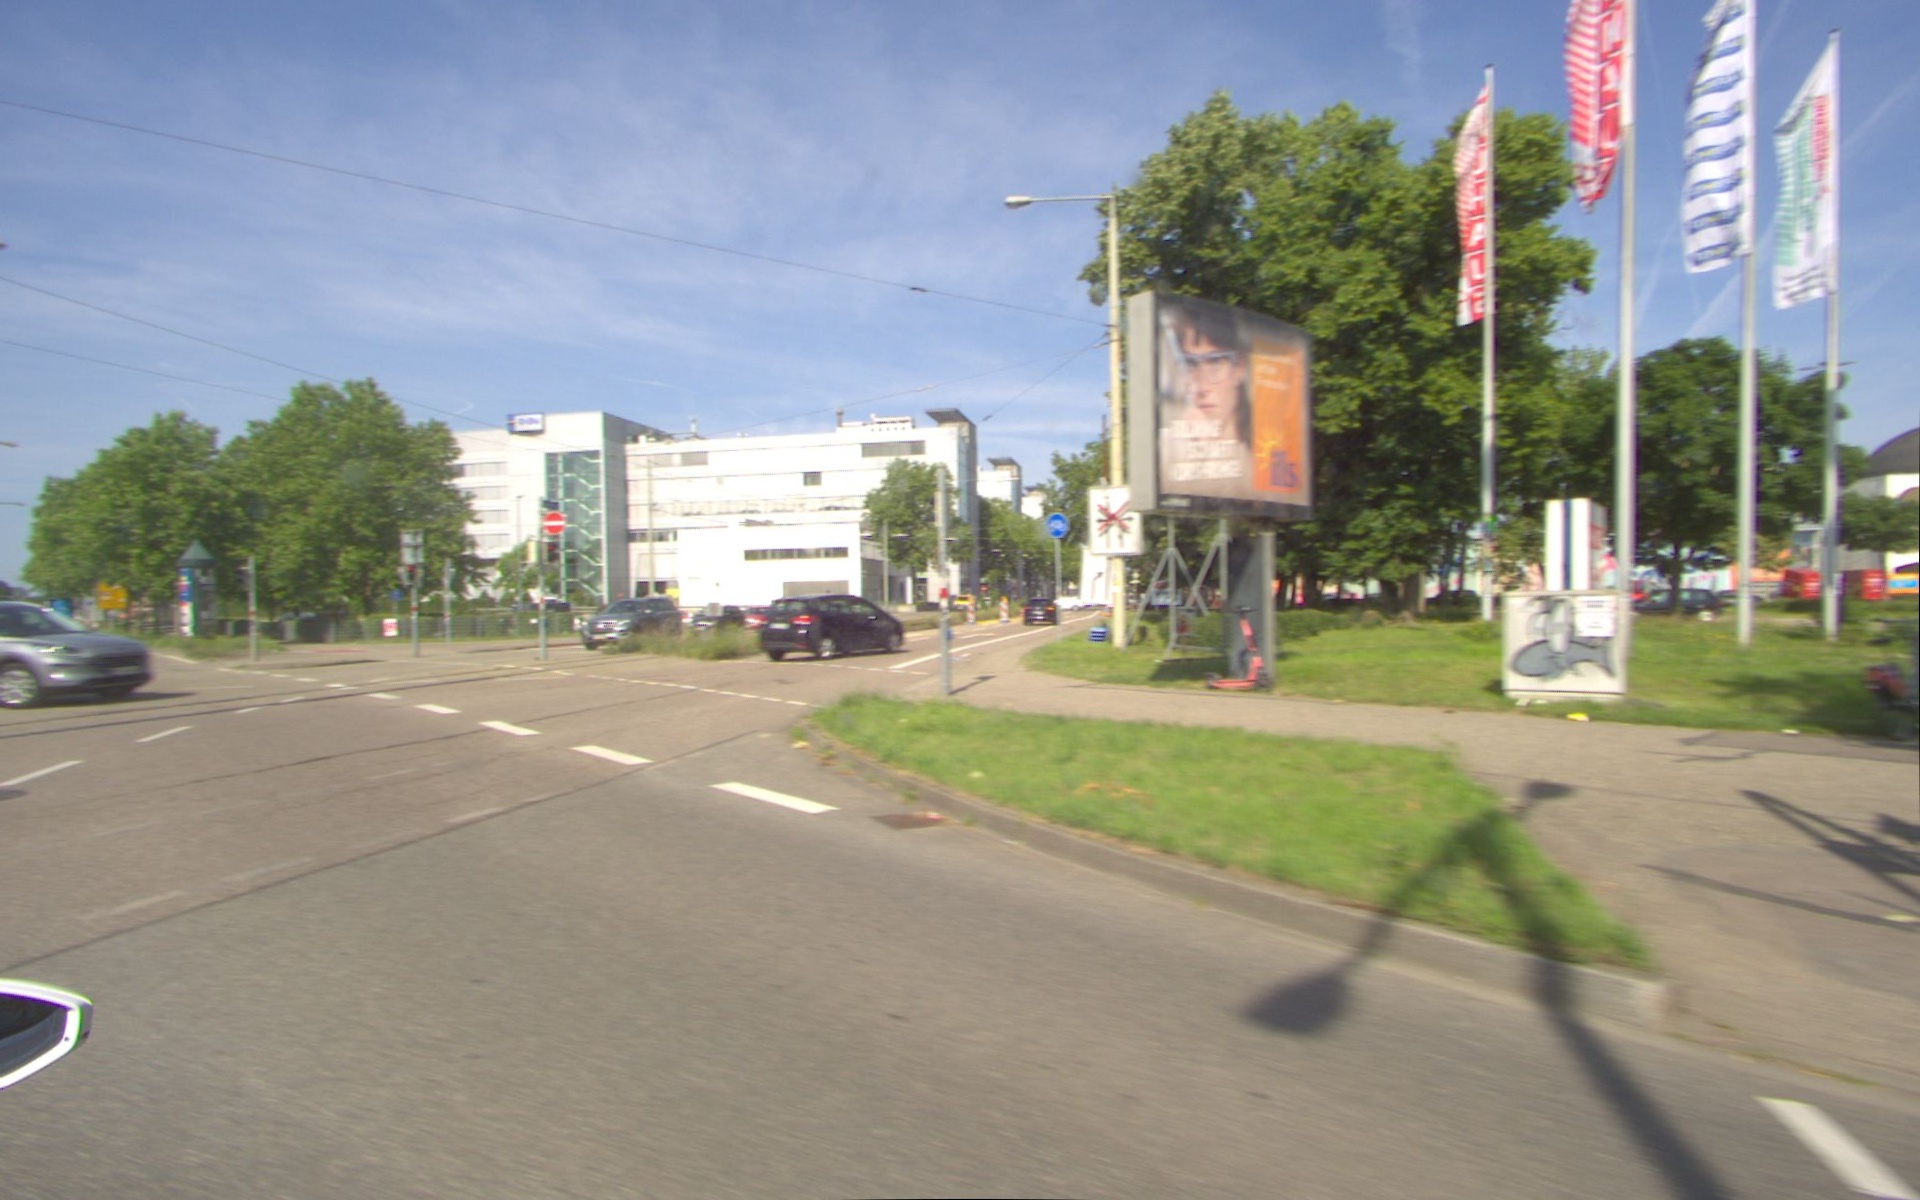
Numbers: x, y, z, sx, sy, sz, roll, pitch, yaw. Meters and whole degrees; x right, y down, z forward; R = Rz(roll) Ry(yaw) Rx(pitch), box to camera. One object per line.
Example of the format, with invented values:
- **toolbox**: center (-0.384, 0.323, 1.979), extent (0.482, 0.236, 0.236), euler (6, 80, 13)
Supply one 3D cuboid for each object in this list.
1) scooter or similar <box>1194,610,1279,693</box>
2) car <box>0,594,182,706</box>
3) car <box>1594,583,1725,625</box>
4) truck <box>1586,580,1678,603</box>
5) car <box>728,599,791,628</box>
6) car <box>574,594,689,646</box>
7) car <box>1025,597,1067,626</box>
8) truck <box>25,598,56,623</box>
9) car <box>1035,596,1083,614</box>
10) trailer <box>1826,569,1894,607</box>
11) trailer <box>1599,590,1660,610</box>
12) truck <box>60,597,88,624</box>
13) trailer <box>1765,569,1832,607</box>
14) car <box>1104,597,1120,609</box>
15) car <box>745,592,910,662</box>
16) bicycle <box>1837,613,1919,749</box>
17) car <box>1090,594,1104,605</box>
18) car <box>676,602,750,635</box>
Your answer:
- **scooter or similar**: center (3.942, 0.716, 14.321), extent (0.421, 1.141, 1.113), euler (-2, 1, -44)
- **car**: center (-15.575, 0.782, 16.191), extent (4.565, 1.673, 1.996), euler (-1, 1, 5)
- **car**: center (28.225, 0.155, 40.531), extent (3.979, 1.608, 1.727), euler (-1, 0, 19)
- **truck**: center (55.500, -0.674, 82.829), extent (5.892, 1.855, 2.187), euler (0, -1, 12)
- **car**: center (-10.849, 0.716, 54.461), extent (1.748, 1.463, 4.623), euler (-1, 0, 10)
- **car**: center (-11.594, 0.657, 35.664), extent (1.879, 1.711, 4.623), euler (-1, 0, 10)
- **car**: center (4.685, 0.593, 54.354), extent (1.816, 1.530, 4.391), euler (-1, 0, 11)
- **truck**: center (-135.524, 1.560, 147.682), extent (2.818, 3.625, 8.645), euler (-1, 1, -40)
- **car**: center (9.610, 0.460, 97.321), extent (4.538, 1.711, 1.915), euler (-1, 1, 8)
- **trailer**: center (58.960, -0.790, 65.681), extent (1.522, 2.390, 4.404), euler (0, 1, 16)
- **trailer**: center (45.194, -0.011, 67.700), extent (1.560, 1.304, 4.410), euler (-1, 0, 7)
- **truck**: center (-153.315, 1.825, 173.425), extent (3.165, 4.413, 13.035), euler (-2, 1, -40)
- **trailer**: center (56.063, -0.806, 67.077), extent (1.561, 2.409, 4.406), euler (0, 1, 13)
- **car**: center (19.417, 0.401, 128.049), extent (1.816, 1.530, 4.340), euler (-1, 0, 11)
- **car**: center (-3.268, 0.623, 25.615), extent (1.789, 1.627, 4.353), euler (0, 0, 33)
- **bicycle**: center (8.988, 0.717, 9.373), extent (1.763, 1.123, 0.502), euler (-3, 1, -25)
- **car**: center (19.580, -0.036, 142.905), extent (1.816, 1.530, 4.340), euler (-1, 0, 11)
- **car**: center (-11.973, 0.873, 48.931), extent (1.748, 1.463, 4.623), euler (-1, 0, 10)
